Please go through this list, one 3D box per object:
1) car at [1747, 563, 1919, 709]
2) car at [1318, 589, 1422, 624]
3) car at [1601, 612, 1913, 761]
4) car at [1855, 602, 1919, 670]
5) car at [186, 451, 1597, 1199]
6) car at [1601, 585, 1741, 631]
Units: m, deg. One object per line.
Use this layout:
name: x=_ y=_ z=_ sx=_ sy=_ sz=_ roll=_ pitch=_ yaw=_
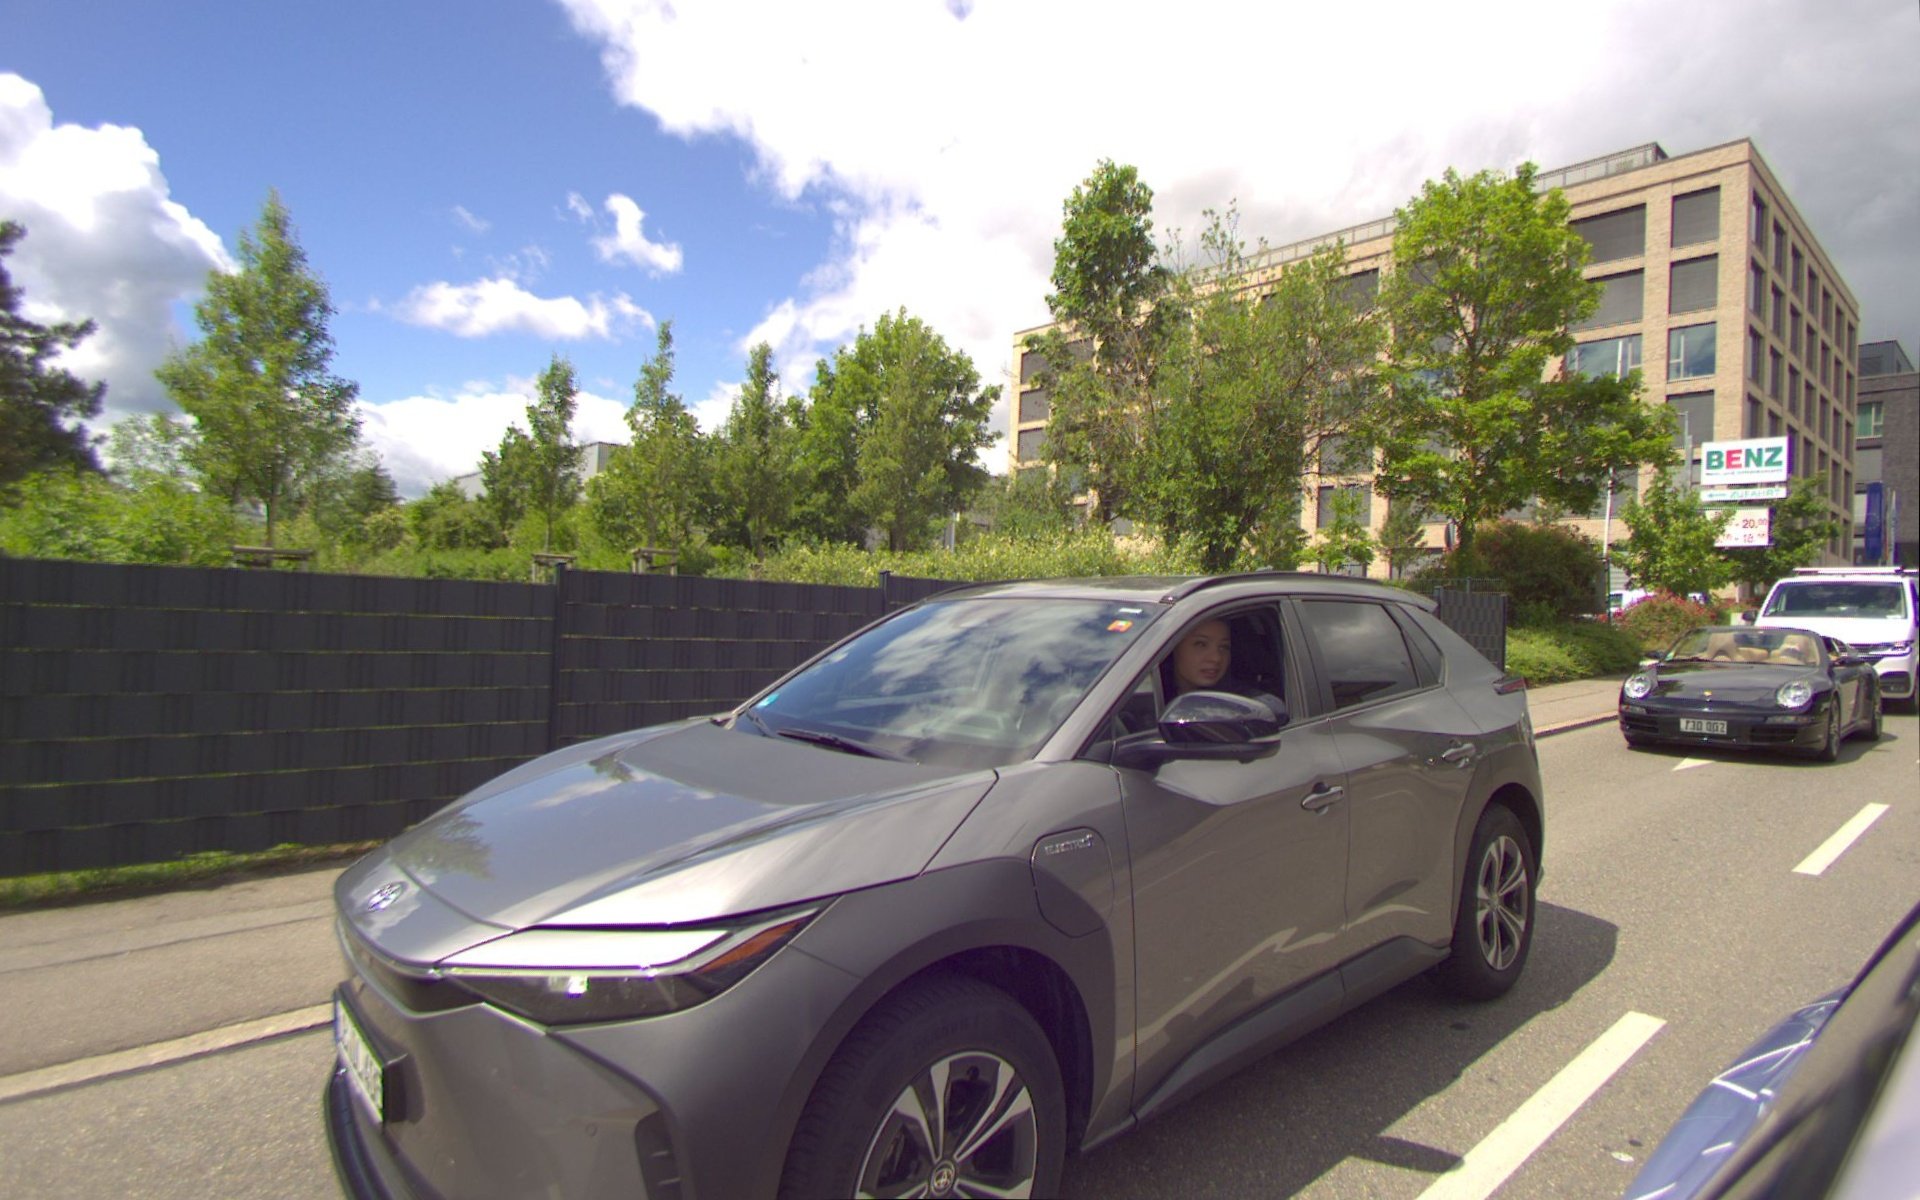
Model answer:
car: x=13.541 y=0.484 z=15.124 sx=4.563 sy=1.874 sz=1.962 roll=0 pitch=-1 yaw=-41
car: x=19.326 y=0.278 z=47.800 sx=1.705 sy=1.436 sz=4.215 roll=1 pitch=1 yaw=-41
car: x=8.761 y=0.779 z=10.978 sx=4.487 sy=1.290 sz=1.776 roll=0 pitch=-1 yaw=-40
car: x=20.502 y=0.722 z=21.237 sx=4.485 sy=1.290 sz=1.778 roll=0 pitch=1 yaw=-38
car: x=0.308 y=0.653 z=3.468 sx=4.601 sy=1.634 sz=1.922 roll=0 pitch=-1 yaw=-41
car: x=27.505 y=0.288 z=39.232 sx=1.707 sy=1.596 sz=4.211 roll=1 pitch=1 yaw=-44
